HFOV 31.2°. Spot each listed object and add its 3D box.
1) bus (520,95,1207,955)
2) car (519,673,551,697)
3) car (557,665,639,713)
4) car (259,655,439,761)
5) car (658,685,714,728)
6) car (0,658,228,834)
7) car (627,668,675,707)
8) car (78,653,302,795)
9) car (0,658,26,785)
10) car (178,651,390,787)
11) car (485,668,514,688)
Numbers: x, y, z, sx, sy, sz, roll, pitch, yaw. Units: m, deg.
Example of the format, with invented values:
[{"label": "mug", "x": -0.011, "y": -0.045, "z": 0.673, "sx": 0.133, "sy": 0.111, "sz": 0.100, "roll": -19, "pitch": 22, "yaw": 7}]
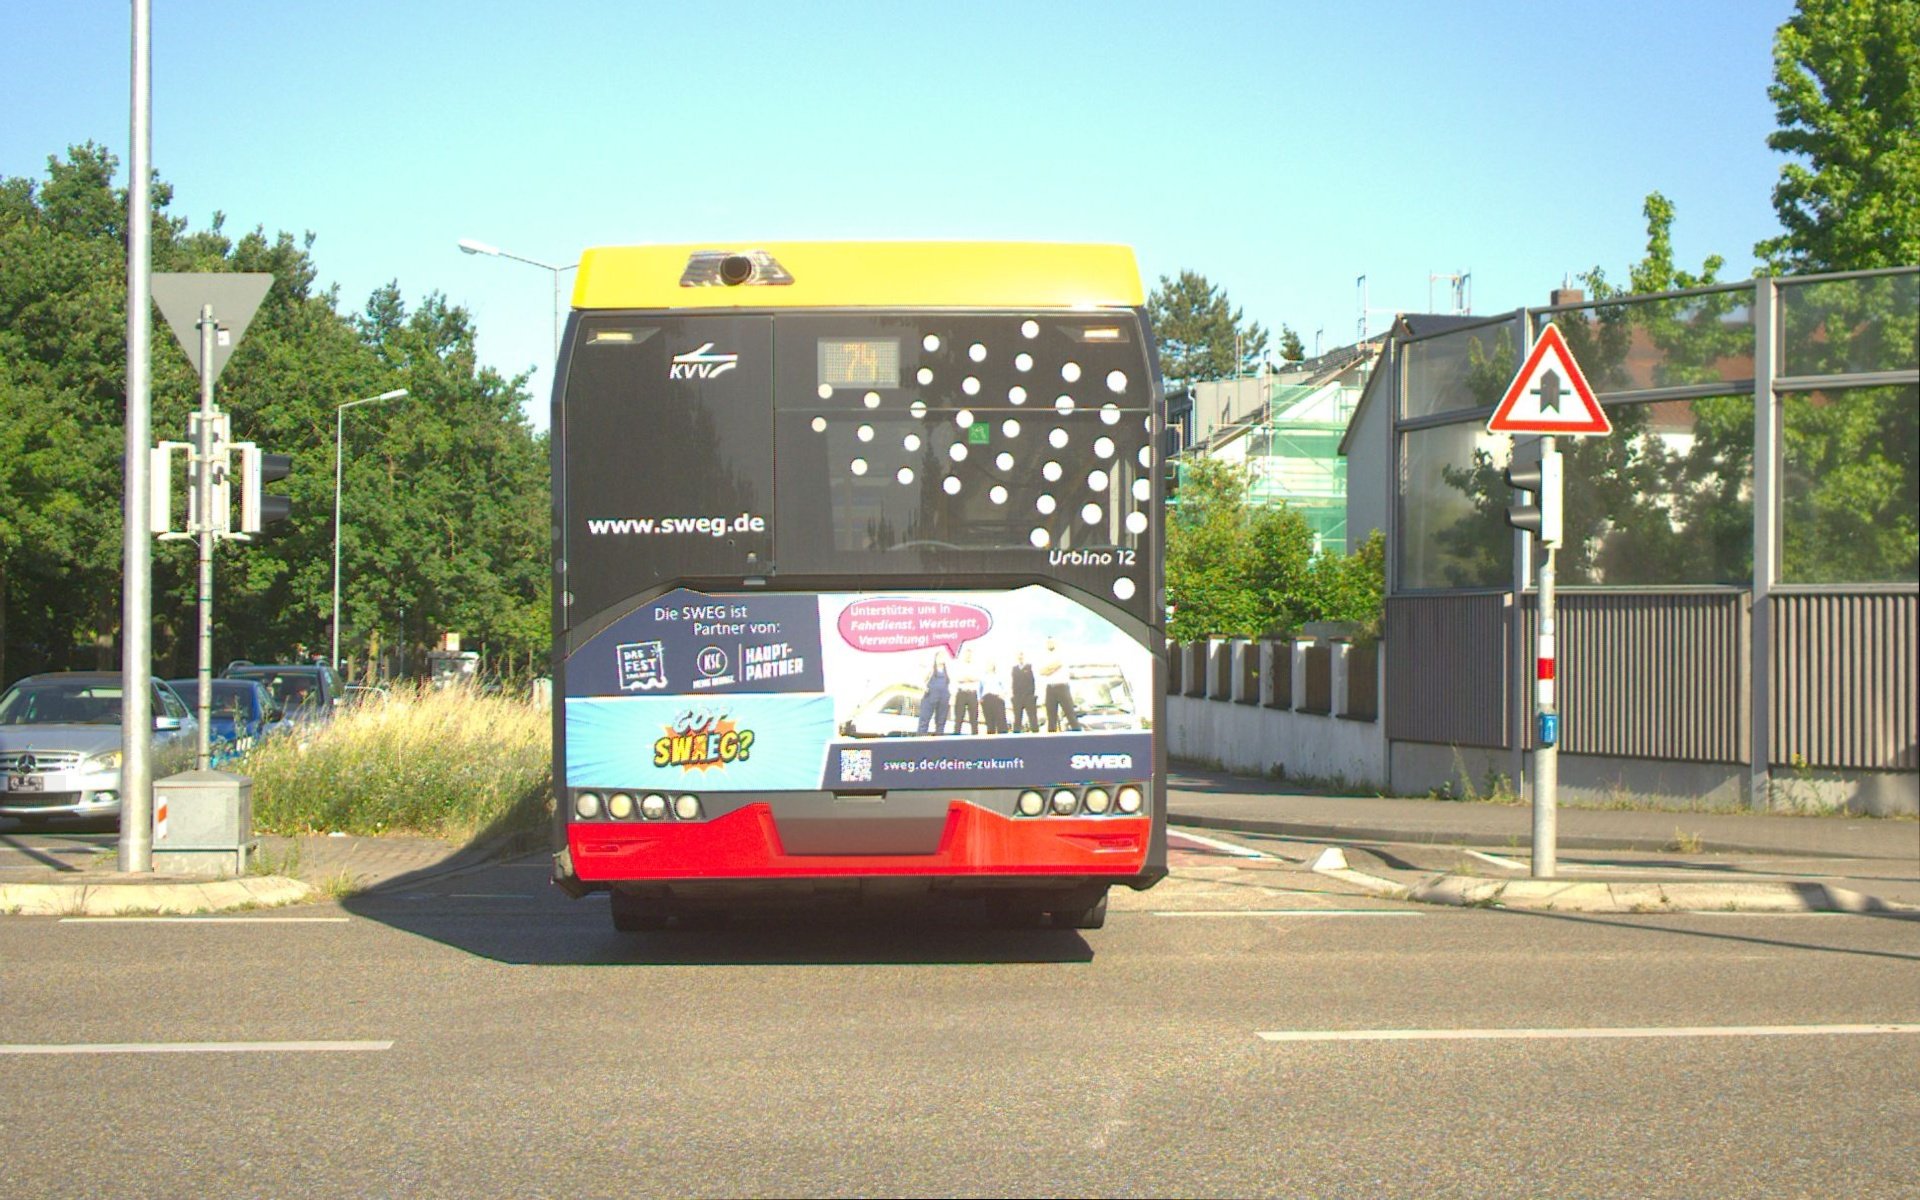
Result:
[{"label": "bus", "x": -0.588, "y": -0.322, "z": 20.019, "sx": 2.757, "sy": 3.446, "sz": 12.399, "roll": 0, "pitch": 0, "yaw": -2}, {"label": "car", "x": -28.326, "y": 5.657, "z": 228.957, "sx": 1.933, "sy": 1.537, "sz": 4.001, "roll": 1, "pitch": -1, "yaw": -9}, {"label": "car", "x": -11.099, "y": 2.728, "z": 105.543, "sx": 1.710, "sy": 1.426, "sz": 3.999, "roll": -1, "pitch": -1, "yaw": 6}, {"label": "car", "x": -8.660, "y": 1.514, "z": 49.065, "sx": 1.993, "sy": 1.446, "sz": 4.399, "roll": 0, "pitch": -1, "yaw": -3}, {"label": "car", "x": -11.101, "y": 4.292, "z": 139.129, "sx": 1.935, "sy": 1.698, "sz": 4.001, "roll": 1, "pitch": -1, "yaw": -9}, {"label": "car", "x": -8.098, "y": 1.300, "z": 31.939, "sx": 1.793, "sy": 1.501, "sz": 4.530, "roll": 0, "pitch": -1, "yaw": -2}, {"label": "car", "x": -14.466, "y": 4.091, "z": 160.873, "sx": 1.933, "sy": 1.736, "sz": 4.001, "roll": 1, "pitch": -1, "yaw": -9}, {"label": "car", "x": -8.461, "y": 1.334, "z": 38.070, "sx": 1.746, "sy": 1.478, "sz": 3.888, "roll": 0, "pitch": -1, "yaw": -2}, {"label": "car", "x": -11.920, "y": 1.398, "z": 39.224, "sx": 1.645, "sy": 1.478, "sz": 3.713, "roll": 0, "pitch": -1, "yaw": -2}, {"label": "car", "x": -8.421, "y": 1.456, "z": 43.200, "sx": 1.993, "sy": 1.611, "sz": 4.530, "roll": 0, "pitch": -1, "yaw": -3}, {"label": "car", "x": -34.060, "y": 5.763, "z": 254.257, "sx": 1.933, "sy": 1.449, "sz": 4.001, "roll": 1, "pitch": -1, "yaw": -10}]
